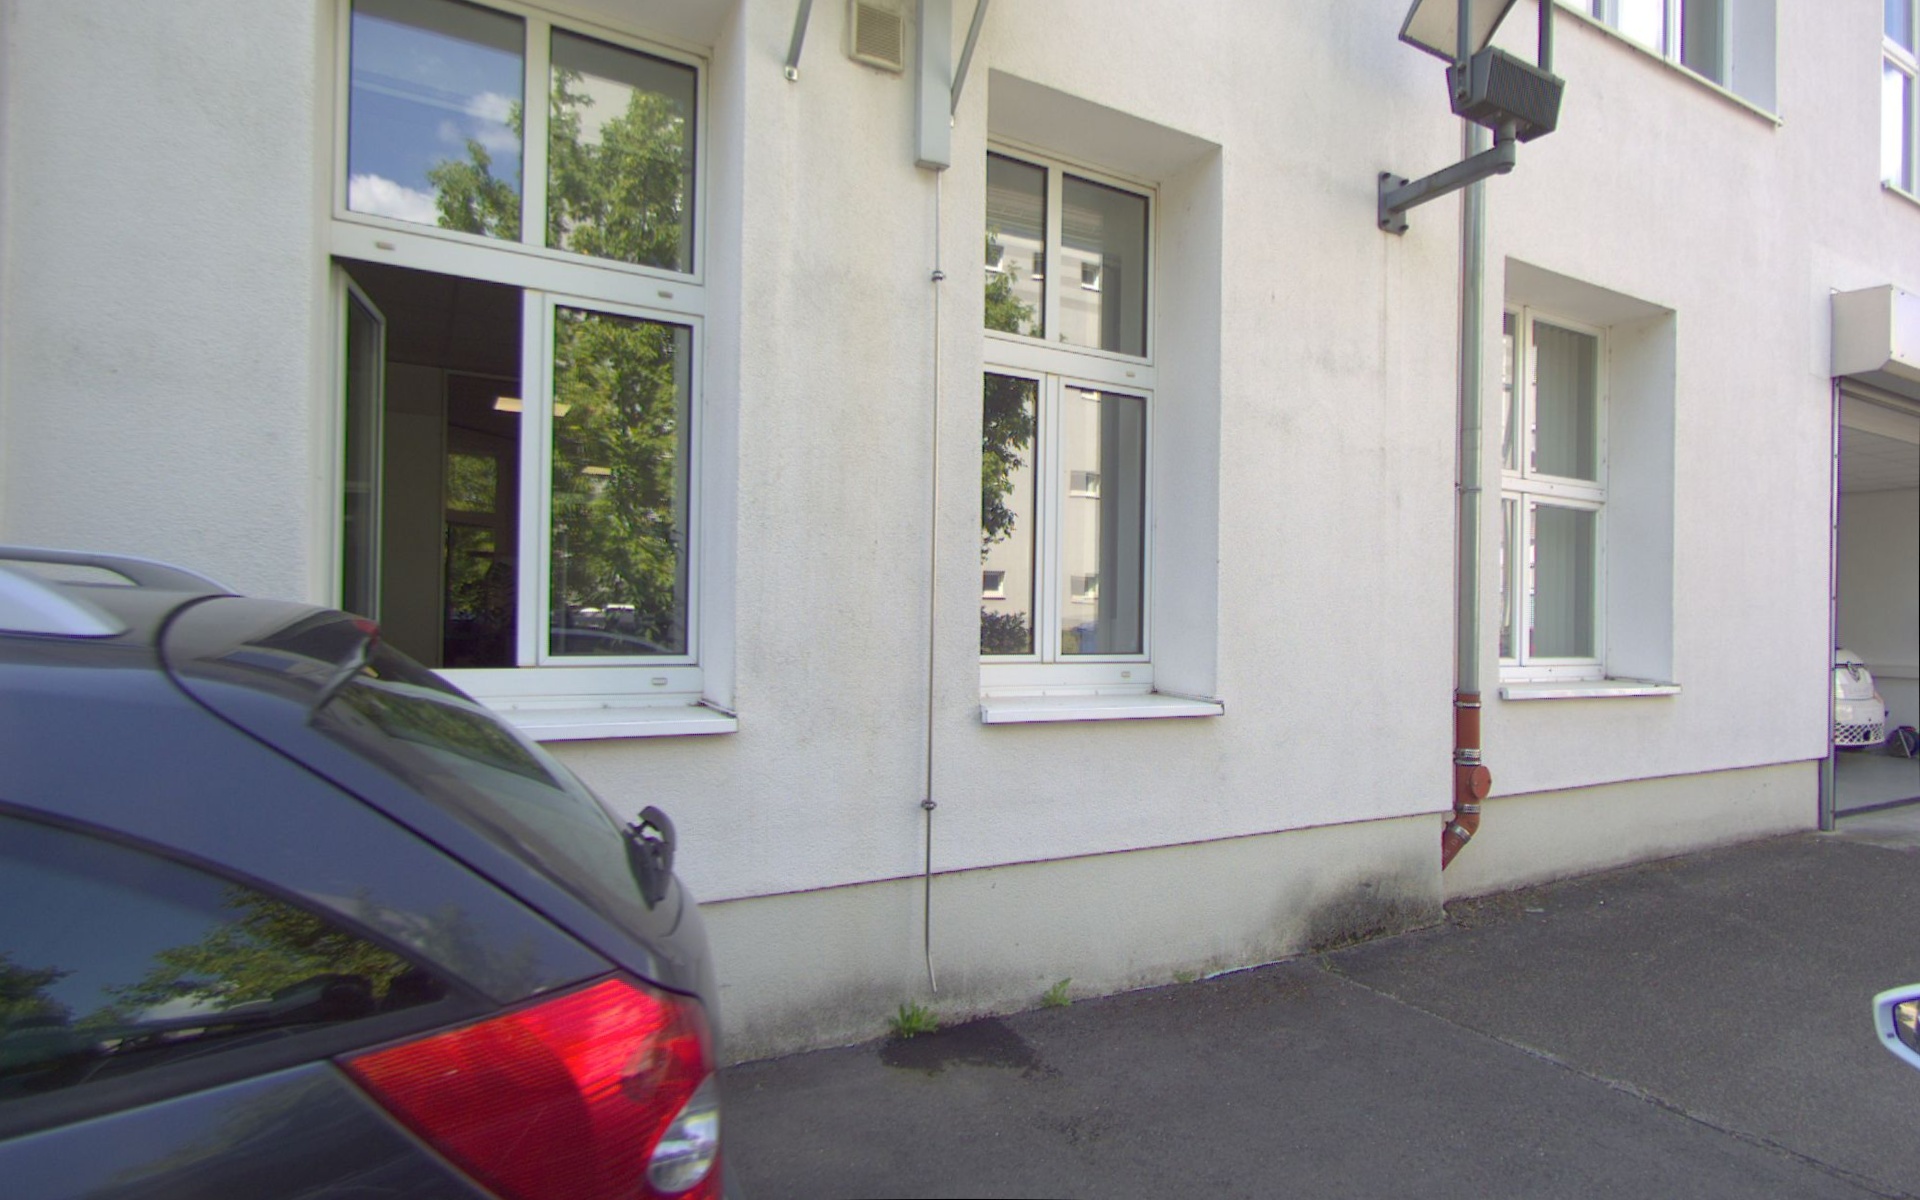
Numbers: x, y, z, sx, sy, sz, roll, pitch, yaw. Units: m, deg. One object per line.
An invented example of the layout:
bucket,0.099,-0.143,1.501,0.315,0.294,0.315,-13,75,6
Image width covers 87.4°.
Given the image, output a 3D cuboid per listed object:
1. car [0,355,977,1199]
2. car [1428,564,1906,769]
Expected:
car,-2.292,0.564,0.664,4.332,1.449,1.747,1,-1,-29
car,8.436,0.659,12.492,1.956,2.052,4.461,1,0,-28
